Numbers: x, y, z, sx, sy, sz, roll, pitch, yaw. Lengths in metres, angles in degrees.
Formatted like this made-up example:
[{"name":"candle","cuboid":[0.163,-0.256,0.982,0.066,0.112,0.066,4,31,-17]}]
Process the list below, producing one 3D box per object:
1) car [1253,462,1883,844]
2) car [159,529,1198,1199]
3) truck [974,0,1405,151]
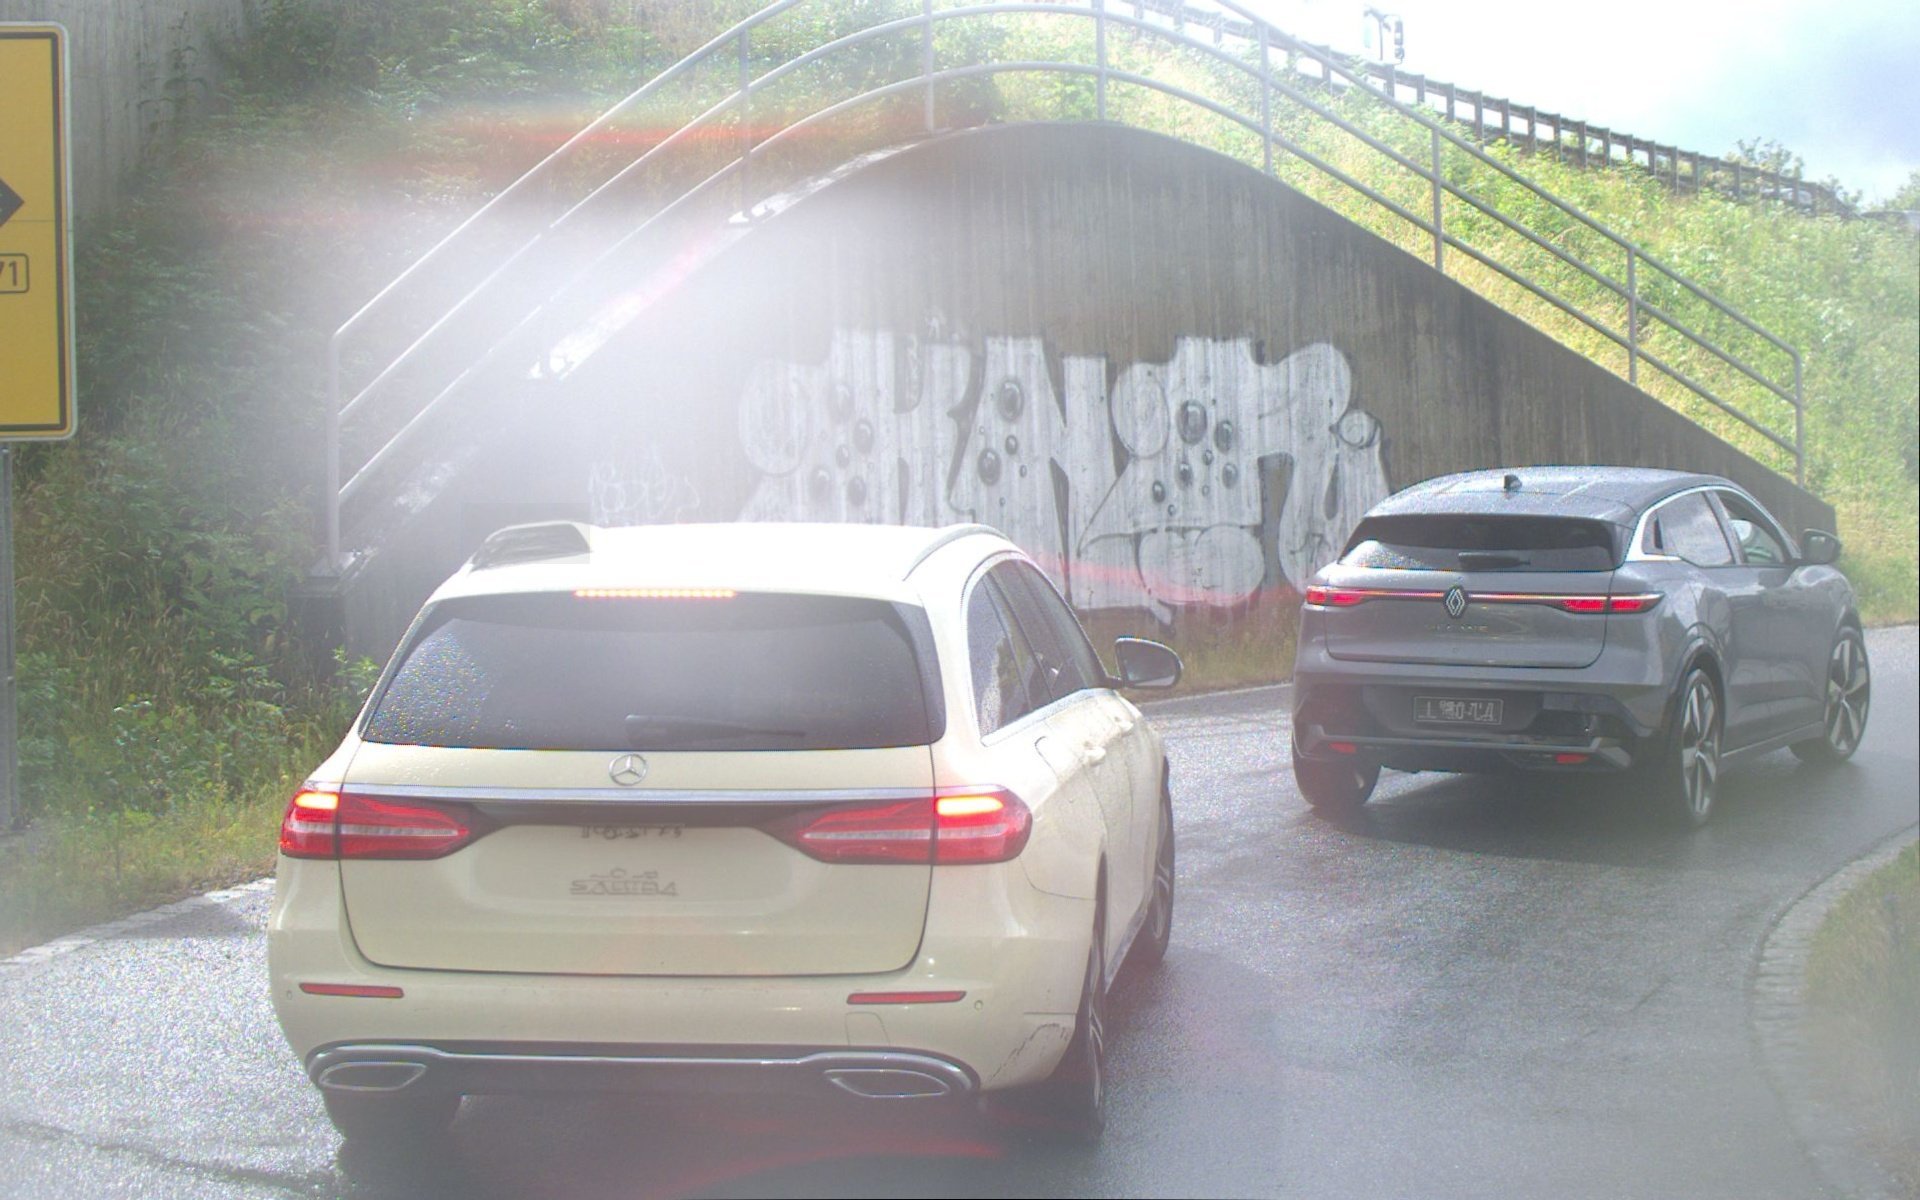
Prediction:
[{"name":"car","cuboid":[2.940,0.131,15.927,1.721,1.519,3.994,1,3,28]},{"name":"car","cuboid":[-0.429,0.564,9.268,1.916,1.502,4.595,0,1,7]},{"name":"truck","cuboid":[3.676,-9.242,51.738,3.185,3.952,9.224,1,2,26]}]
